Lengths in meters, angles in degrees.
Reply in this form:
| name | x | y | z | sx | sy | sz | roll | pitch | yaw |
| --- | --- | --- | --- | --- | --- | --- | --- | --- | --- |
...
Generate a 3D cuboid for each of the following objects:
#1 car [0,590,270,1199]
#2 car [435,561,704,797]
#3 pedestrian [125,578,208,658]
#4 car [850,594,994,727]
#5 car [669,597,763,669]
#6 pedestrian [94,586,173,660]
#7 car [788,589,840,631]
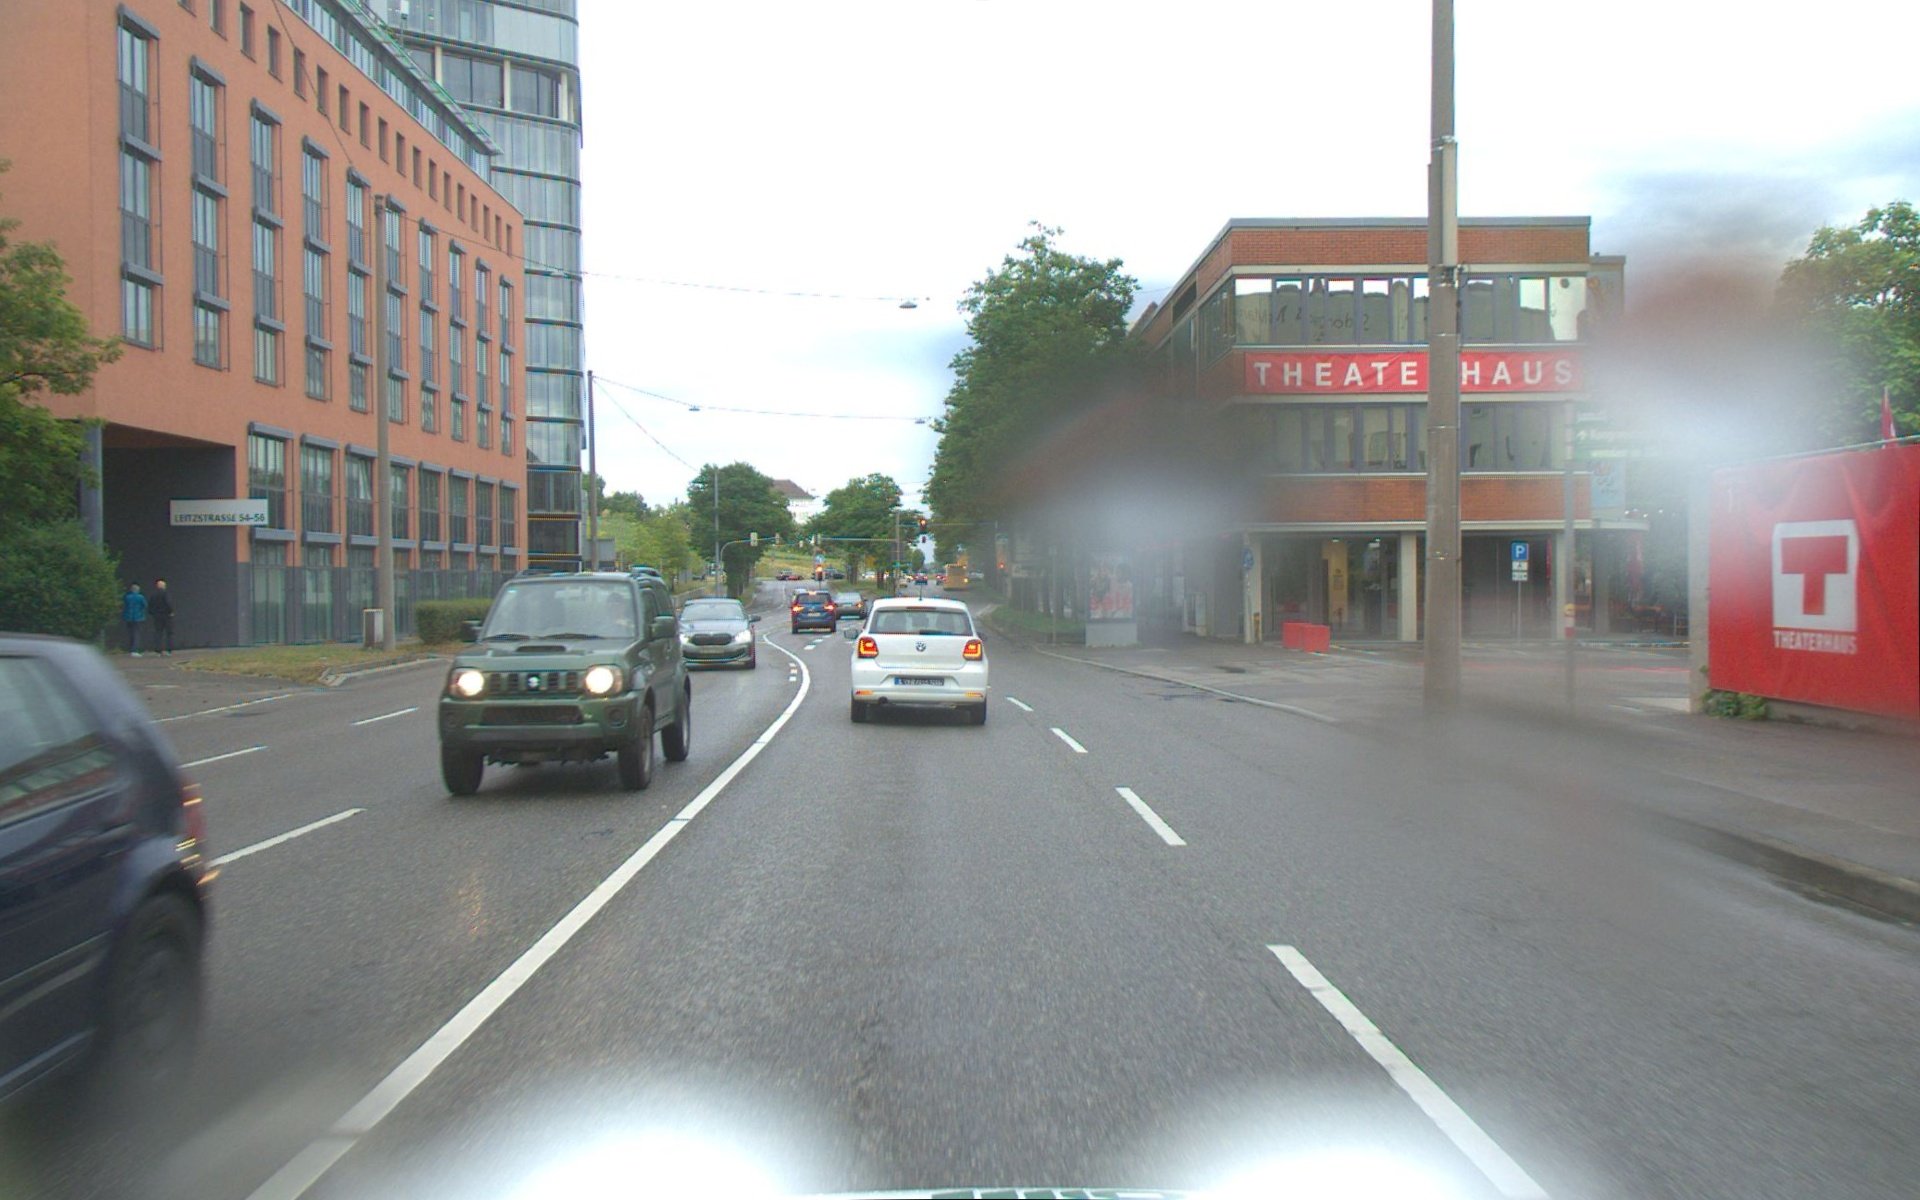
| name | x | y | z | sx | sy | sz | roll | pitch | yaw |
| --- | --- | --- | --- | --- | --- | --- | --- | --- | --- |
| car | -3.064 | 0.746 | 3.523 | 1.626 | 1.512 | 3.819 | -1 | 0 | -1 |
| car | -3.131 | 0.541 | 13.860 | 1.472 | 1.695 | 3.419 | -1 | 1 | -1 |
| pedestrian | -19.478 | 0.452 | 40.619 | 1.289 | 1.855 | 1.438 | -3 | -2 | -1 |
| car | -0.538 | 0.683 | 20.760 | 1.638 | 1.499 | 3.777 | 0 | 0 | -4 |
| car | -5.127 | 0.674 | 35.190 | 1.678 | 1.389 | 3.996 | -1 | 0 | -5 |
| pedestrian | -20.261 | 0.569 | 40.589 | 1.182 | 1.708 | 1.419 | -3 | -2 | -1 |
| car | -5.814 | 0.369 | 65.985 | 1.955 | 1.601 | 3.996 | -1 | 0 | -5 |
